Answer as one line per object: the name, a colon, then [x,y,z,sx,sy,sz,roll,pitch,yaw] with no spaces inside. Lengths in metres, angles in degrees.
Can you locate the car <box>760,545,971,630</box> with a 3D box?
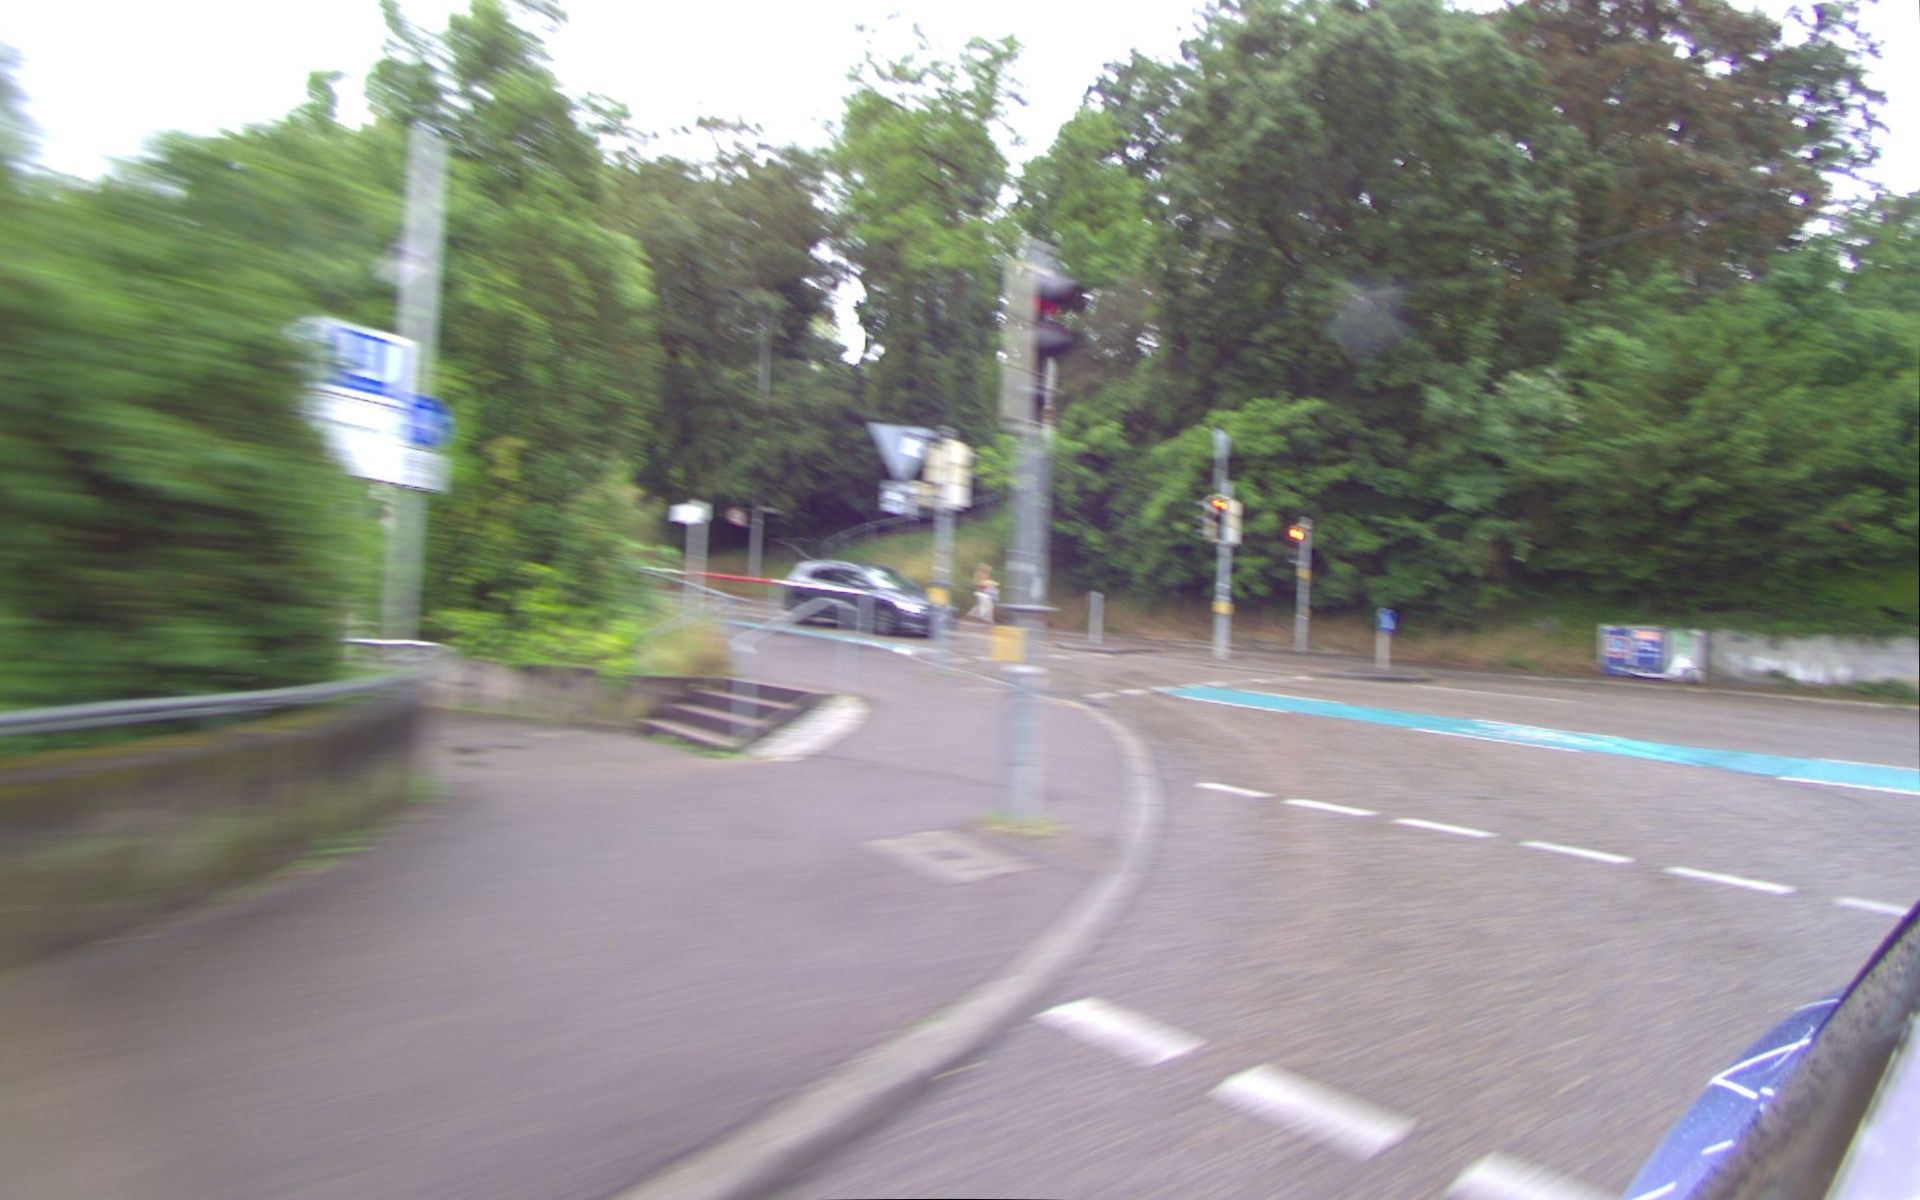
car: [-2.156,-0.324,22.226,4.674,1.540,1.861,5,2,41]

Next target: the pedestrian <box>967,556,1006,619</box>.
pedestrian: [0.768,-0.373,29.761,0.794,1.774,0.641,5,0,33]

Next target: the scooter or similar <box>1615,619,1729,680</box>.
scooter or similar: [14.488,0.989,20.633,0.592,1.088,1.768,4,0,-37]
